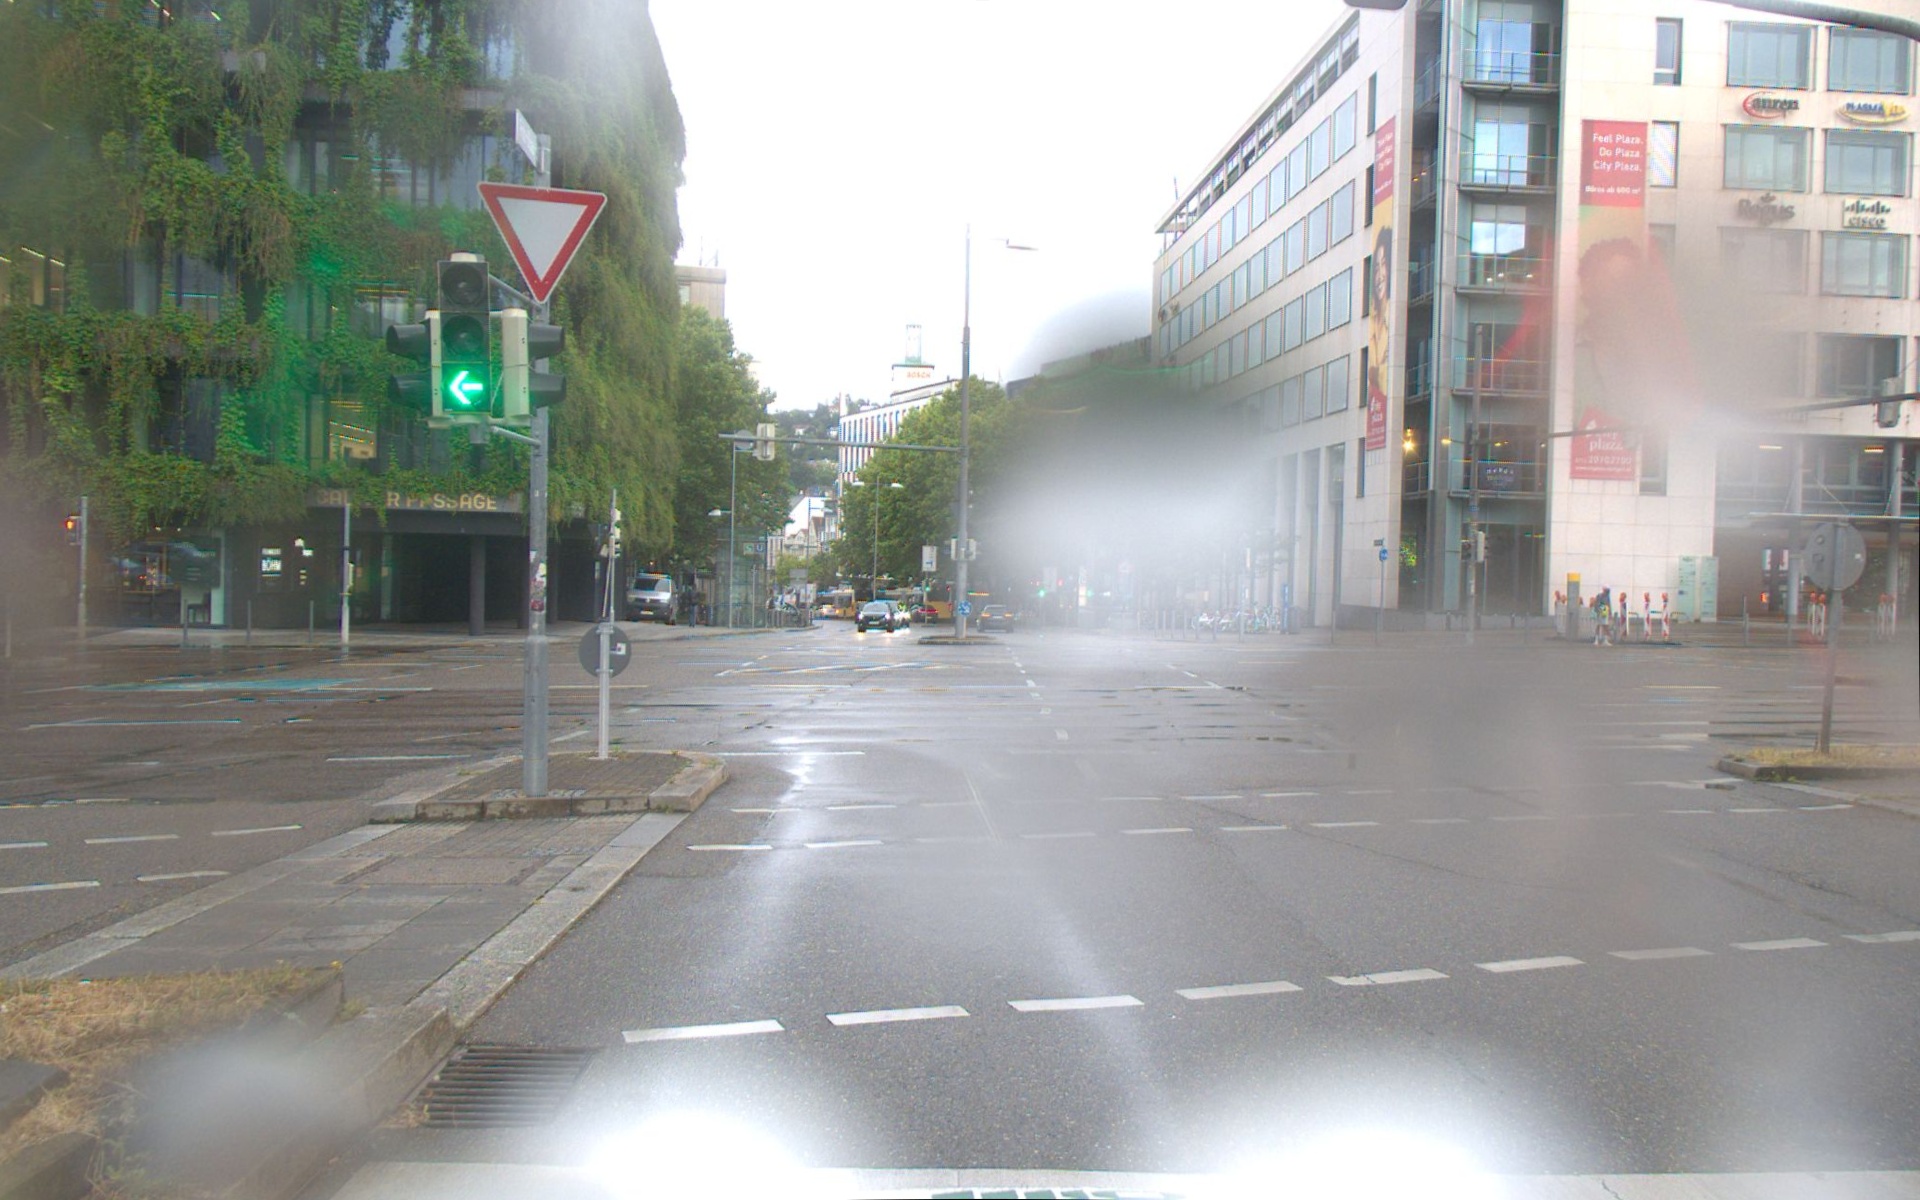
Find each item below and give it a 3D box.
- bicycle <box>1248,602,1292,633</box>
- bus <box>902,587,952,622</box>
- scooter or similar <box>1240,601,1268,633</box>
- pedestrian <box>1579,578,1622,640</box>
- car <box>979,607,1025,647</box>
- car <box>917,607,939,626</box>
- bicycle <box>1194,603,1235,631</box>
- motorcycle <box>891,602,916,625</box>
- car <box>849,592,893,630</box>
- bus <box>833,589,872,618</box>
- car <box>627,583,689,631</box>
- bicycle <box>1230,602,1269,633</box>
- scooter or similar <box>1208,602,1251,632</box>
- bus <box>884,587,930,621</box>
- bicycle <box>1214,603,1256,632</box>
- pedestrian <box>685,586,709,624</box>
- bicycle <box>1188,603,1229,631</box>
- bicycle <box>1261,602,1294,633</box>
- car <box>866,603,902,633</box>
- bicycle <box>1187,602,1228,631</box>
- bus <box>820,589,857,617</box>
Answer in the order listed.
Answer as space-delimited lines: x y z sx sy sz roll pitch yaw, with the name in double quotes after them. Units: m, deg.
12.139 0.688 64.866 1.590 1.215 0.586 1 -1 25 "bicycle"
-2.938 0.383 145.748 2.585 3.048 7.417 0 0 -16 "bus"
11.403 0.670 64.171 0.946 1.215 0.453 0 -1 40 "scooter or similar"
19.328 0.266 49.915 0.942 1.848 0.836 1 -1 -1 "pedestrian"
2.259 1.428 87.893 1.511 2.049 4.672 1 -1 13 "car"
-2.564 1.320 134.511 1.745 1.534 3.999 1 -1 -1 "car"
11.441 0.756 74.338 1.741 1.215 0.586 1 -1 1 "bicycle"
-3.865 0.933 112.690 1.521 1.541 4.381 1 -1 -4 "motorcycle"
-4.538 0.555 83.823 2.121 1.796 5.108 1 -1 -4 "car"
-11.306 0.345 172.914 2.585 3.048 7.296 0 0 -16 "bus"
-12.372 0.298 67.992 1.832 1.871 3.999 1 -1 -1 "car"
11.602 0.692 66.410 0.578 1.215 1.766 1 -1 -28 "bicycle"
11.566 0.730 70.997 1.741 1.215 0.586 1 -1 1 "scooter or similar"
-4.933 0.367 152.865 2.585 3.048 7.417 0 0 -16 "bus"
11.910 0.741 71.624 1.741 1.215 0.586 1 -1 1 "bicycle"
-11.741 0.236 73.817 0.915 1.673 0.774 1 -1 -1 "pedestrian"
11.024 0.741 73.414 1.741 1.215 0.586 1 -1 1 "bicycle"
12.877 0.719 66.987 0.575 1.215 1.776 0 -1 37 "bicycle"
-4.763 1.097 102.779 2.121 1.796 5.108 1 -1 -4 "car"
10.881 0.733 72.778 1.741 1.215 0.586 1 -1 1 "bicycle"
-13.302 0.296 179.982 2.585 3.048 7.417 0 0 -16 "bus"
